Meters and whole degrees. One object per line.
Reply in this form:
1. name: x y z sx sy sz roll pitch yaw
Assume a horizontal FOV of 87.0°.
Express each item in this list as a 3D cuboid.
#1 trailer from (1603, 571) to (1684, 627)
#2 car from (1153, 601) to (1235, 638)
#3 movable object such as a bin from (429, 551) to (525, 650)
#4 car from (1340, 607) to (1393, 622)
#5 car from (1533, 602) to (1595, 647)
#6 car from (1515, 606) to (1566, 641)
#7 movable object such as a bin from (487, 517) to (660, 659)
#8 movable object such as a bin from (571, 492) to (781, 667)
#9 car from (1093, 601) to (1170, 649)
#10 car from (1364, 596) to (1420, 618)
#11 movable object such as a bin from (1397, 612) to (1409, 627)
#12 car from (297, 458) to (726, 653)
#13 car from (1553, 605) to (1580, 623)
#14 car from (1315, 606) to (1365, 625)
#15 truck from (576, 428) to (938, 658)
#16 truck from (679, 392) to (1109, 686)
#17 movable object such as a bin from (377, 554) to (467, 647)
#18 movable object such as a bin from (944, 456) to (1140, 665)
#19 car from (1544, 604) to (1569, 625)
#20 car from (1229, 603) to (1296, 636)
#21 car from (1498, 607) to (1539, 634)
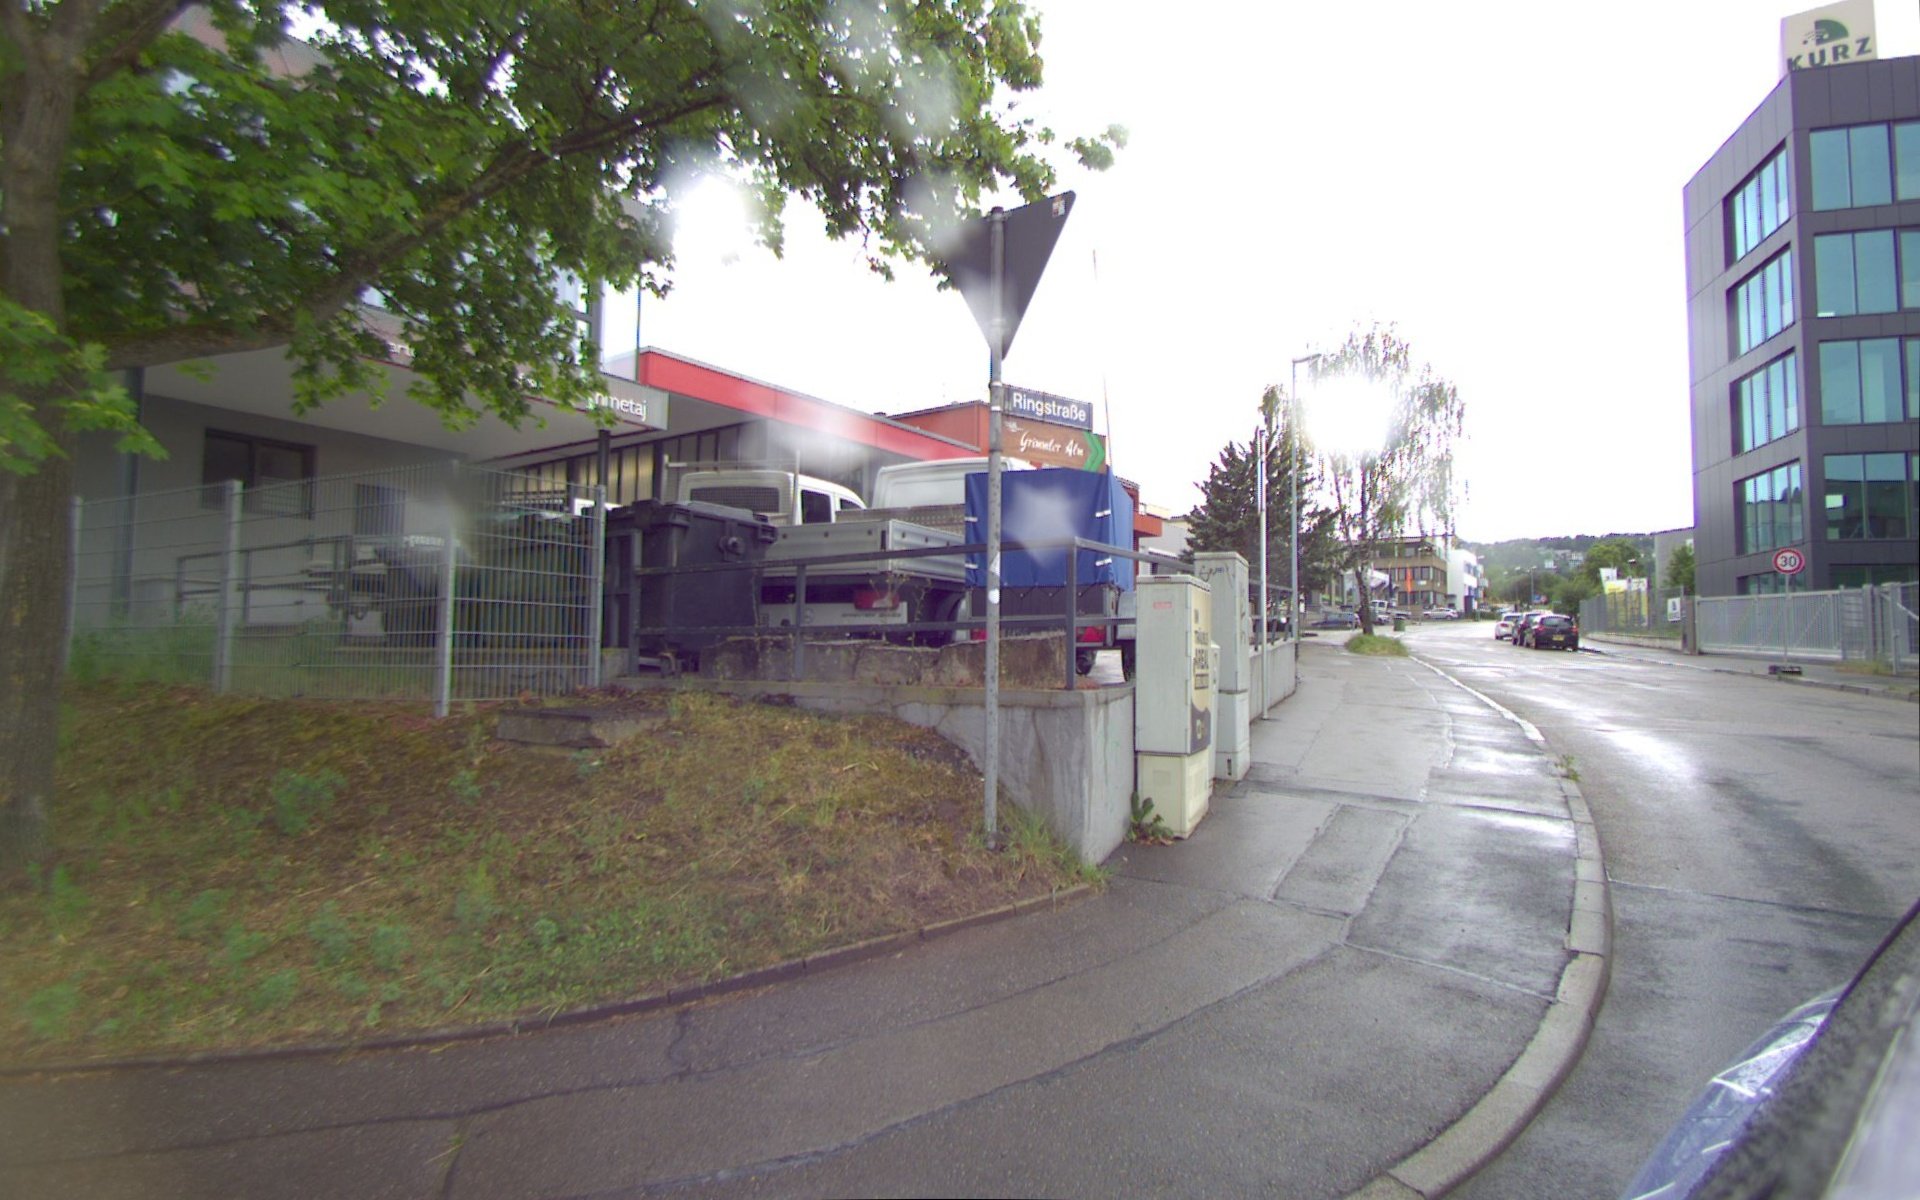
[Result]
1. trailer: 52.229 -0.094 77.473 2.338 4.141 4.709 0 -1 -16
2. car: 10.887 0.886 46.953 1.991 1.599 4.449 -3 -2 38
3. movable object such as a bin: -4.193 0.006 8.787 0.562 0.828 0.533 0 -1 32
4. car: 40.466 1.424 100.699 4.597 1.516 1.916 0 -1 36
5. car: 26.191 1.024 43.974 1.725 1.820 3.928 0 -1 22
6. car: 27.902 1.111 48.720 1.619 1.578 4.052 0 0 22
7. movable object such as a bin: -3.113 -0.086 8.171 1.045 1.056 0.873 0 -1 34
8. movable object such as a bin: -2.099 -0.135 7.537 1.133 1.177 1.015 0 -1 32
9. car: 7.038 0.985 41.242 1.981 1.861 3.961 0 -1 28
10. car: 46.107 0.763 108.155 5.127 2.323 2.172 -1 -1 38
11. movable object such as a bin: 33.646 1.476 76.878 0.730 1.104 0.588 0 -1 30
12. car: -5.514 -0.452 13.213 2.045 2.039 4.886 0 -1 30
13. car: 69.474 1.644 115.881 1.991 2.039 3.941 0 -1 41
14. car: 32.261 1.314 85.909 3.725 1.560 1.611 0 -1 34
15. truck: -2.320 -0.575 13.086 2.226 2.372 4.795 0 -1 25
16. truck: -0.261 -0.447 10.709 2.091 2.242 5.602 0 -1 26
17. movable object such as a bin: -4.913 0.007 9.246 0.519 0.812 0.533 0 -1 32
18. movable object such as a bin: 0.751 -0.283 8.449 1.292 1.519 1.849 0 -1 16
19. car: 58.280 1.405 98.925 1.981 1.938 3.960 0 -1 28
20. car: 18.685 1.232 62.558 3.424 1.519 1.596 -11 -8 37
21. car: 32.541 1.166 59.040 1.722 1.555 4.214 -1 -1 24
